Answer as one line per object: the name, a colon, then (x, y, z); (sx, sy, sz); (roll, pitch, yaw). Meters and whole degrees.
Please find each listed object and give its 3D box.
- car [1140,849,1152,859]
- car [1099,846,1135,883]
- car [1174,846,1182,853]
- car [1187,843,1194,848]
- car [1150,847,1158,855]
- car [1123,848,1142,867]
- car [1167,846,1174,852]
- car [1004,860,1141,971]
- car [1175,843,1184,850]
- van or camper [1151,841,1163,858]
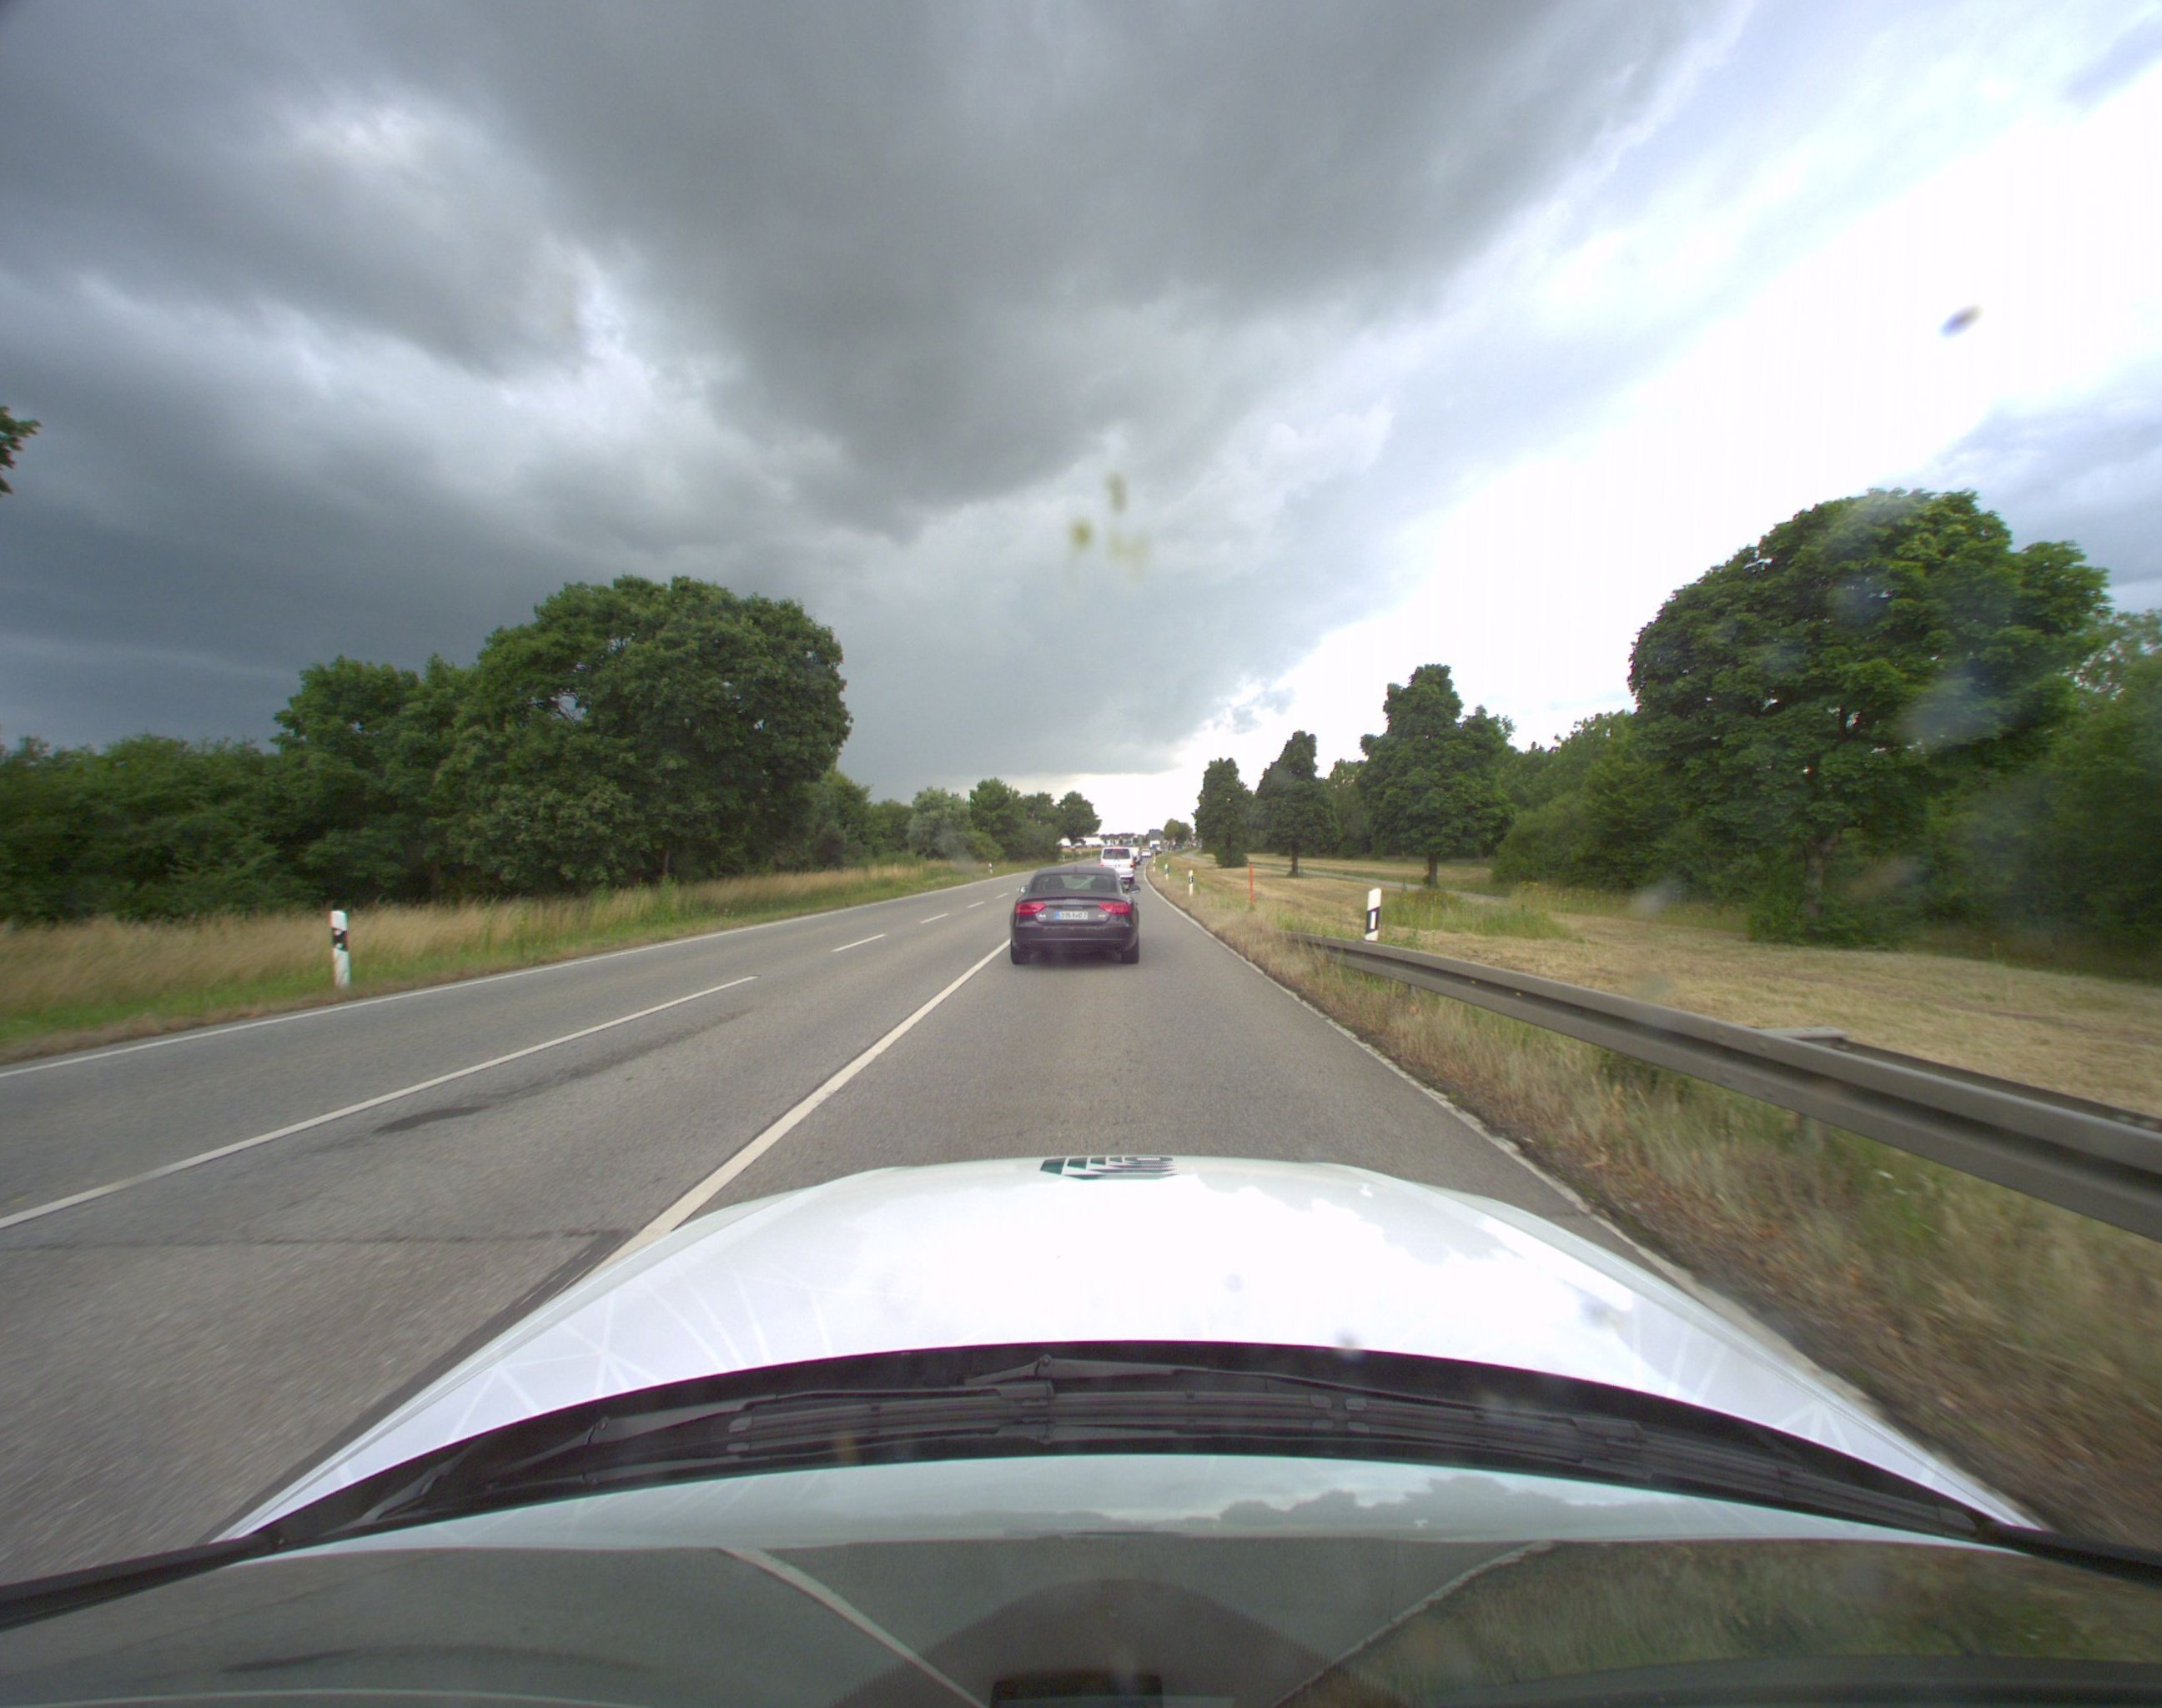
car: (10.371, -0.048, 130.136); (1.726, 1.514, 3.754); (-1, 0, 7)
car: (1.876, 0.539, 43.582); (1.832, 1.882, 4.001); (0, 0, 1)
car: (28.003, -1.323, 234.635); (1.986, 2.013, 4.001); (-1, 0, 1)
car: (33.939, -2.571, 251.597); (1.814, 1.493, 4.003); (0, 0, 2)
car: (13.373, -0.544, 148.273); (1.251, 1.353, 3.473); (-1, 0, 7)
car: (5.642, 0.371, 89.571); (1.984, 2.088, 4.005); (-1, 0, 4)
car: (23.351, -1.374, 212.192); (1.712, 1.451, 4.003); (0, 0, 2)
car: (-0.058, 0.820, 12.620); (1.776, 1.376, 4.001); (0, 0, 1)
car: (24.607, -1.859, 203.767); (1.814, 1.596, 4.003); (0, 0, 2)
van or camper: (15.491, -0.904, 166.948); (2.329, 3.481, 5.726); (-1, 0, 5)
